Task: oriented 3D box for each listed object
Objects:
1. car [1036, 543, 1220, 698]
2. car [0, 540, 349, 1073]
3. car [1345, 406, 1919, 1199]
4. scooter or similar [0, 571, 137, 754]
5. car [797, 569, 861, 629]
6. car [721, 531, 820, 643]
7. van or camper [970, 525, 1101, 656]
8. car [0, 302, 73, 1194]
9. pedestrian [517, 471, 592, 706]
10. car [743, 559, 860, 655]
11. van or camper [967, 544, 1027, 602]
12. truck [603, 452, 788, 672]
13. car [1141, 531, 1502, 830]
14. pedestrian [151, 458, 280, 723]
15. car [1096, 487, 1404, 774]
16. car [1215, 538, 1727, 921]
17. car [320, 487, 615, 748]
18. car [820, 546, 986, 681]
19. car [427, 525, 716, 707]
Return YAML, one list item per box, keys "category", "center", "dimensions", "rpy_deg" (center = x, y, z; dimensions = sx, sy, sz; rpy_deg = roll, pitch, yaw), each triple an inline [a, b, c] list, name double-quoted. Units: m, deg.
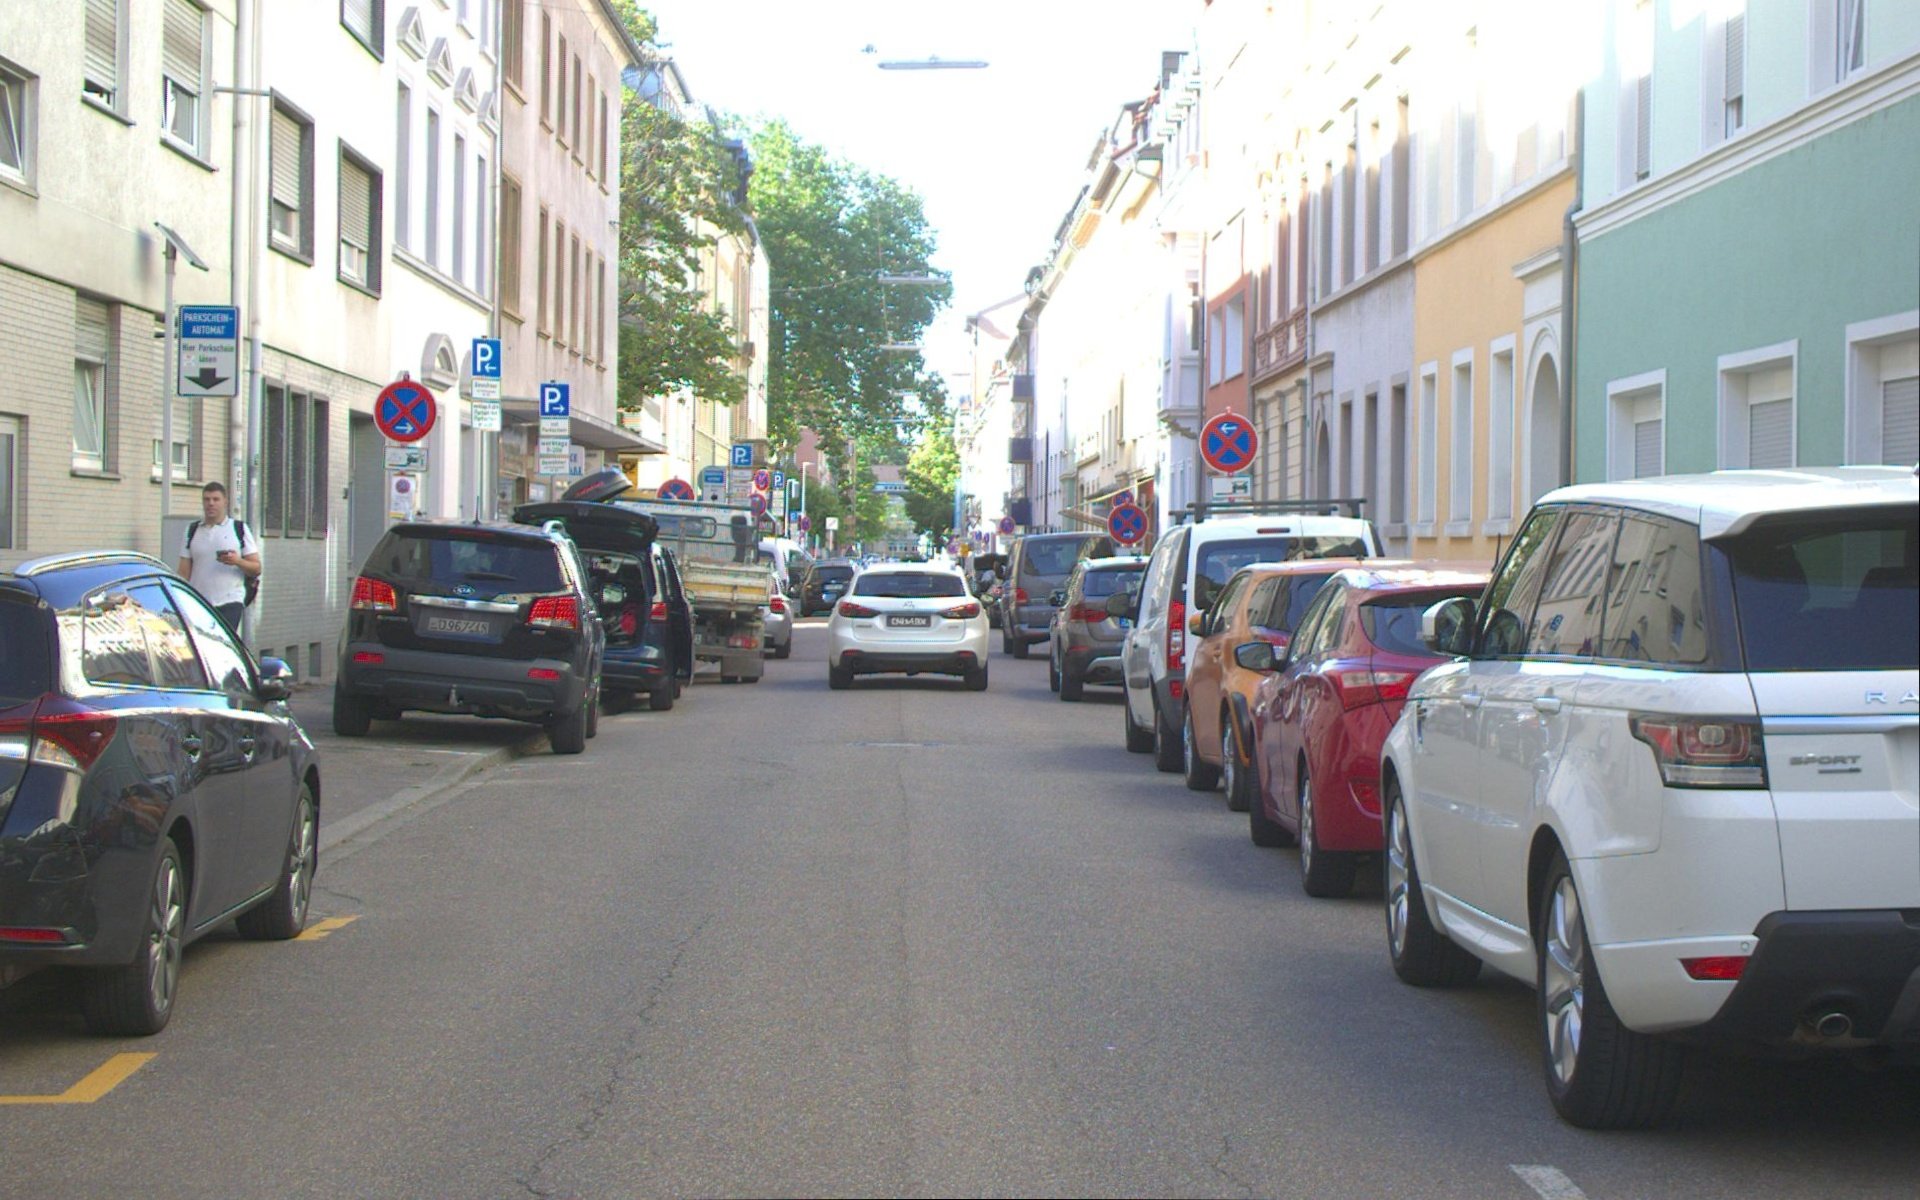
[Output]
- category: "car"
  center: [1.821, 0.182, 38.478]
  dimensions: [1.739, 1.571, 4.378]
  rpy_deg: [1, 1, -1]
- category: "car"
  center: [-3.239, 0.528, 11.583]
  dimensions: [1.706, 1.445, 4.302]
  rpy_deg: [2, 1, -2]
- category: "car"
  center: [2.473, 0.411, 10.165]
  dimensions: [2.005, 1.777, 4.939]
  rpy_deg: [1, 1, -1]
- category: "scooter or similar"
  center: [-6.553, 0.435, 24.690]
  dimensions: [0.438, 1.273, 1.230]
  rpy_deg: [0, 1, 40]
- category: "car"
  center: [-3.630, -0.045, 95.800]
  dimensions: [1.624, 1.591, 3.580]
  rpy_deg: [2, 1, 0]
- category: "car"
  center: [-3.329, -0.251, 60.183]
  dimensions: [1.647, 1.861, 4.001]
  rpy_deg: [1, 1, -3]
- category: "van or camper"
  center: [1.191, -0.169, 56.035]
  dimensions: [1.775, 2.029, 4.571]
  rpy_deg: [-1, 0, -3]
- category: "car"
  center: [-2.921, 0.344, 5.507]
  dimensions: [1.894, 1.951, 4.782]
  rpy_deg: [3, 1, -3]
- category: "pedestrian"
  center: [-3.870, -0.105, 32.849]
  dimensions: [0.619, 2.221, 0.688]
  rpy_deg: [0, -1, -1]
- category: "car"
  center: [-2.497, 0.085, 54.584]
  dimensions: [1.758, 1.411, 4.000]
  rpy_deg: [-1, 1, -2]
- category: "van or camper"
  center: [1.259, -0.910, 119.034]
  dimensions: [1.993, 1.919, 4.000]
  rpy_deg: [0, 0, 0]
- category: "truck"
  center: [-3.407, -0.430, 43.579]
  dimensions: [2.156, 2.581, 6.250]
  rpy_deg: [0, 0, -5]
- category: "car"
  center: [2.138, 0.424, 21.244]
  dimensions: [1.580, 1.626, 3.682]
  rpy_deg: [2, 1, -3]
- category: "pedestrian"
  center: [-5.477, -0.073, 25.324]
  dimensions: [0.806, 1.927, 0.691]
  rpy_deg: [0, 1, -1]
- category: "car"
  center: [2.086, 0.192, 25.876]
  dimensions: [1.782, 1.955, 4.336]
  rpy_deg: [1, 0, -2]
- category: "car"
  center: [2.292, 0.510, 16.432]
  dimensions: [1.742, 1.563, 4.032]
  rpy_deg: [1, 1, -1]
- category: "car"
  center: [-3.758, 0.074, 26.936]
  dimensions: [1.879, 1.749, 4.544]
  rpy_deg: [4, 1, -4]
- category: "car"
  center: [-0.626, 0.125, 40.184]
  dimensions: [1.834, 1.481, 4.057]
  rpy_deg: [1, 1, 0]
- category: "car"
  center: [-3.925, 0.115, 35.710]
  dimensions: [2.441, 1.700, 5.242]
  rpy_deg: [1, 1, -1]
